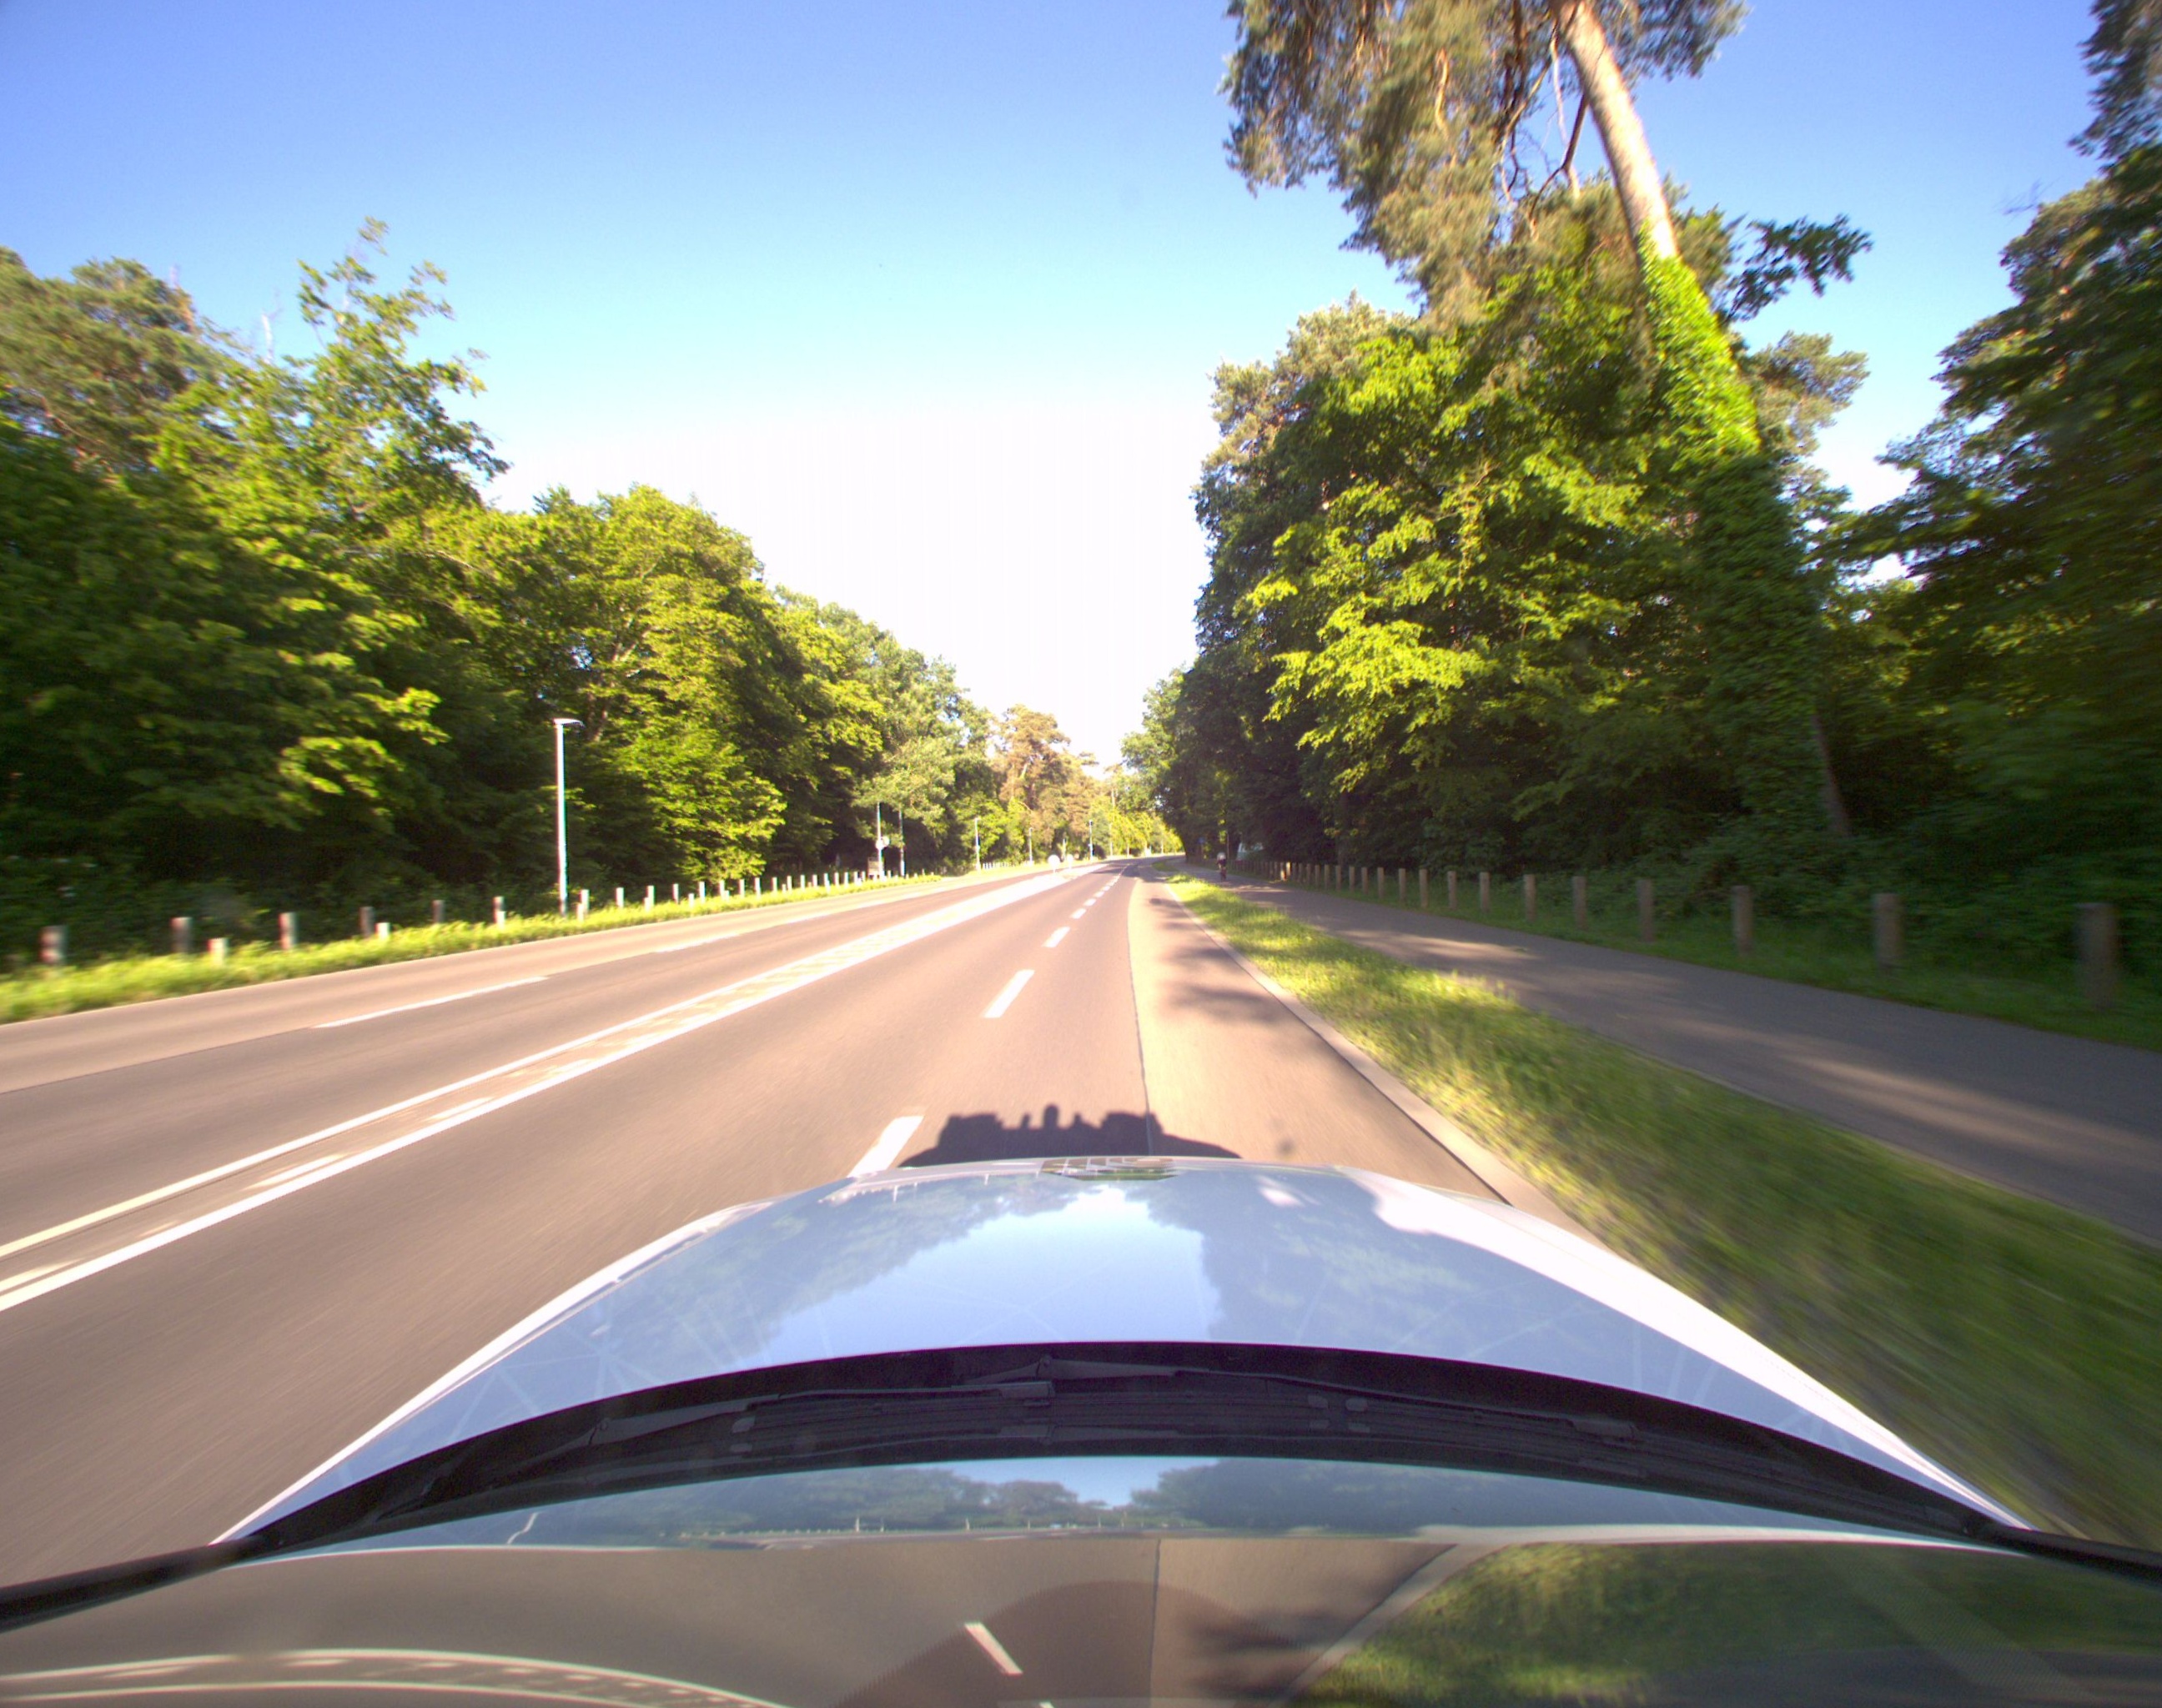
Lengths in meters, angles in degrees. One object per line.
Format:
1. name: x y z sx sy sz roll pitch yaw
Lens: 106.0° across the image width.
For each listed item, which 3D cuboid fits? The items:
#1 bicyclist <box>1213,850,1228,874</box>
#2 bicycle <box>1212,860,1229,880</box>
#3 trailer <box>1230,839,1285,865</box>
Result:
1. bicyclist: 7.666 0.434 44.851 0.709 1.288 1.106 -1 0 4
2. bicycle: 7.669 0.872 44.798 0.709 1.056 2.055 -1 0 4
3. trailer: 15.207 -0.160 70.282 4.174 2.021 2.012 -2 0 45
